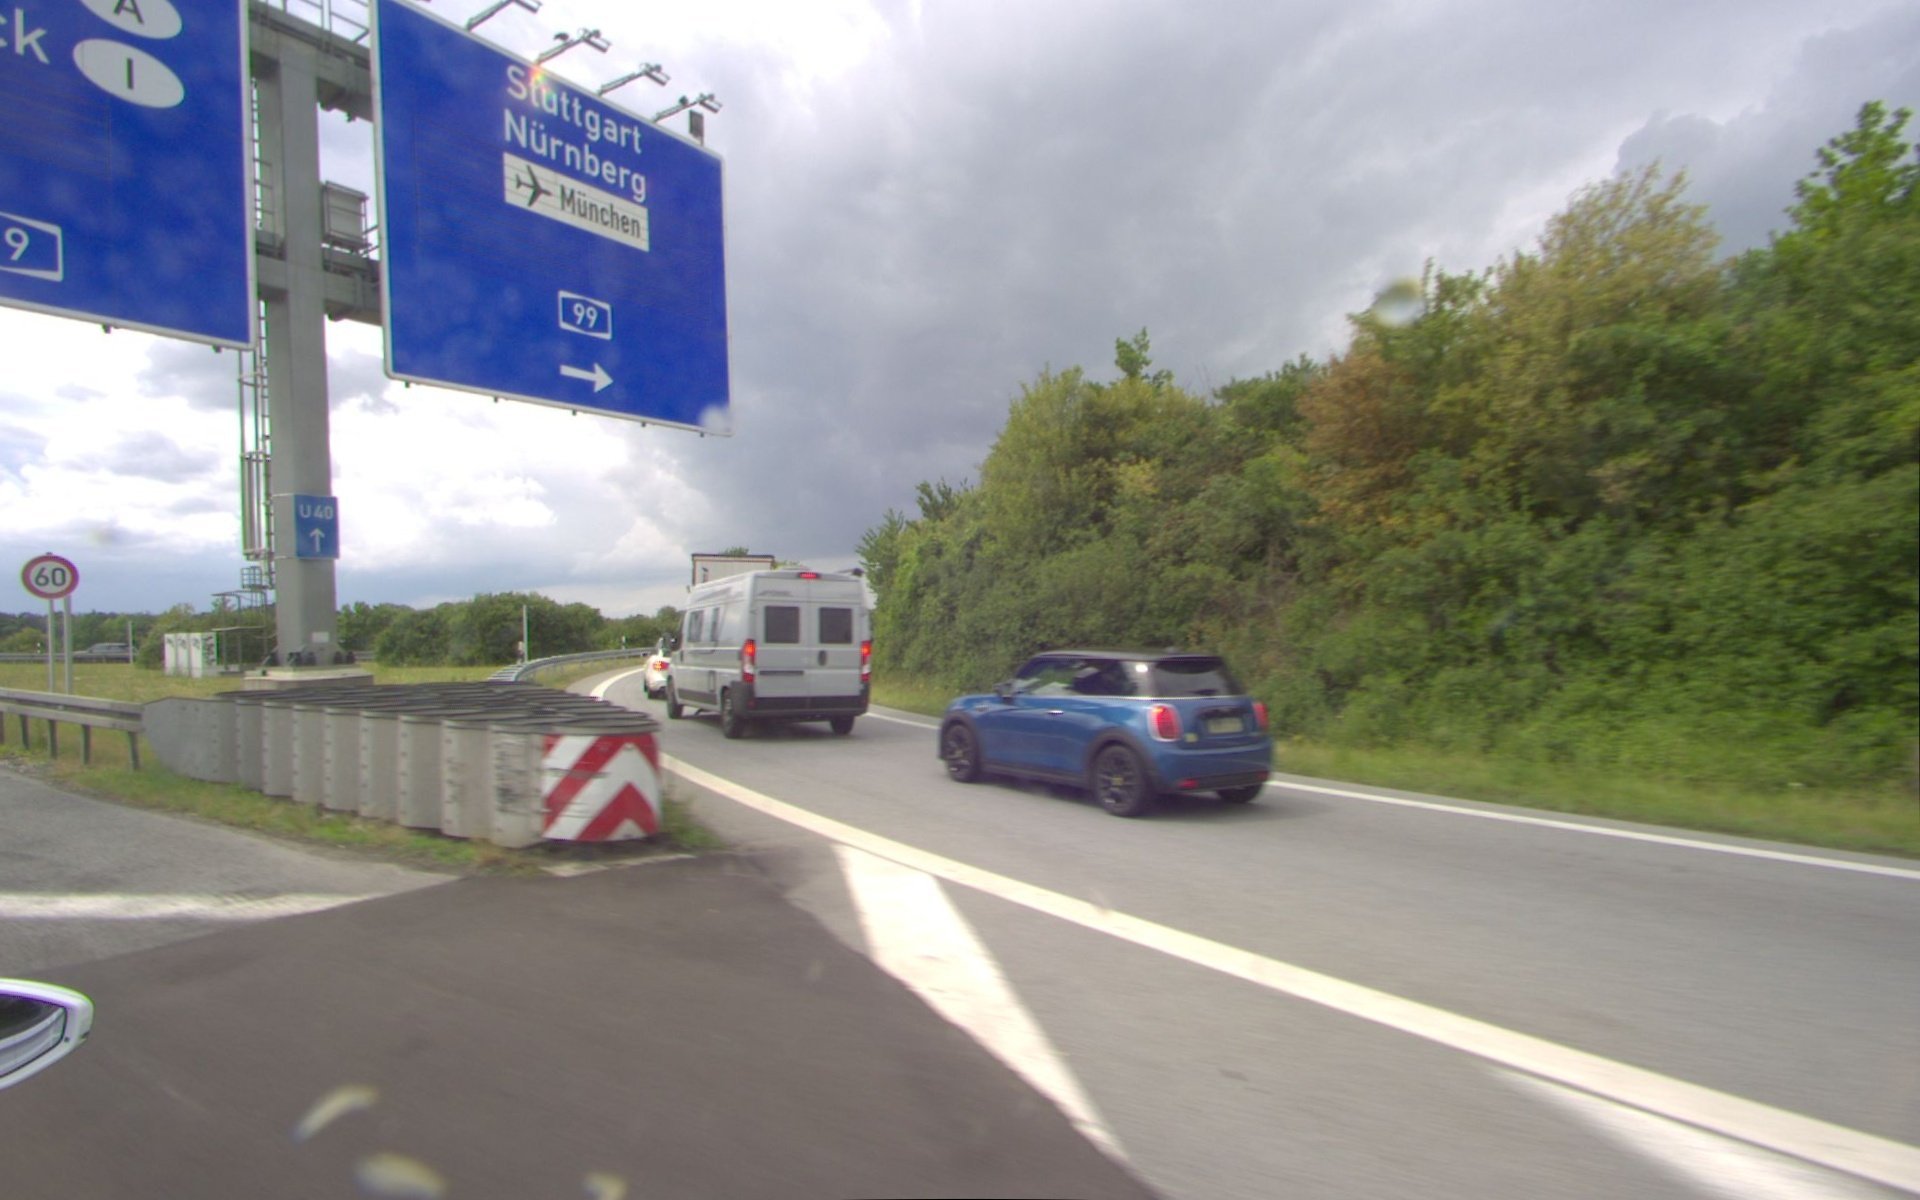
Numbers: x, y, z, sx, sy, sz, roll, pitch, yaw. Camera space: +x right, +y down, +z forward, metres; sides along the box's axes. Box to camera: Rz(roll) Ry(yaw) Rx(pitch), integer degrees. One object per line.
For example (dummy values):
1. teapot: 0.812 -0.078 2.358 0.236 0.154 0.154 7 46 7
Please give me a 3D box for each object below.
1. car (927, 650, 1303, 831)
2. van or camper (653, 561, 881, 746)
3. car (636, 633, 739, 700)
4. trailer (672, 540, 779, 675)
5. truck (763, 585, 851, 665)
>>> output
1. car: 1.360 1.222 10.017 1.713 1.437 3.643 2 -3 -34
2. van or camper: -3.588 0.852 17.329 2.266 2.601 6.135 0 -2 -27
3. car: -7.038 1.611 25.496 2.176 1.520 4.777 0 -2 -20
4. trailer: -8.592 0.485 38.054 3.279 4.246 13.028 0 -2 -11
5. truck: -9.471 1.660 63.280 3.220 4.674 8.994 0 -2 7
